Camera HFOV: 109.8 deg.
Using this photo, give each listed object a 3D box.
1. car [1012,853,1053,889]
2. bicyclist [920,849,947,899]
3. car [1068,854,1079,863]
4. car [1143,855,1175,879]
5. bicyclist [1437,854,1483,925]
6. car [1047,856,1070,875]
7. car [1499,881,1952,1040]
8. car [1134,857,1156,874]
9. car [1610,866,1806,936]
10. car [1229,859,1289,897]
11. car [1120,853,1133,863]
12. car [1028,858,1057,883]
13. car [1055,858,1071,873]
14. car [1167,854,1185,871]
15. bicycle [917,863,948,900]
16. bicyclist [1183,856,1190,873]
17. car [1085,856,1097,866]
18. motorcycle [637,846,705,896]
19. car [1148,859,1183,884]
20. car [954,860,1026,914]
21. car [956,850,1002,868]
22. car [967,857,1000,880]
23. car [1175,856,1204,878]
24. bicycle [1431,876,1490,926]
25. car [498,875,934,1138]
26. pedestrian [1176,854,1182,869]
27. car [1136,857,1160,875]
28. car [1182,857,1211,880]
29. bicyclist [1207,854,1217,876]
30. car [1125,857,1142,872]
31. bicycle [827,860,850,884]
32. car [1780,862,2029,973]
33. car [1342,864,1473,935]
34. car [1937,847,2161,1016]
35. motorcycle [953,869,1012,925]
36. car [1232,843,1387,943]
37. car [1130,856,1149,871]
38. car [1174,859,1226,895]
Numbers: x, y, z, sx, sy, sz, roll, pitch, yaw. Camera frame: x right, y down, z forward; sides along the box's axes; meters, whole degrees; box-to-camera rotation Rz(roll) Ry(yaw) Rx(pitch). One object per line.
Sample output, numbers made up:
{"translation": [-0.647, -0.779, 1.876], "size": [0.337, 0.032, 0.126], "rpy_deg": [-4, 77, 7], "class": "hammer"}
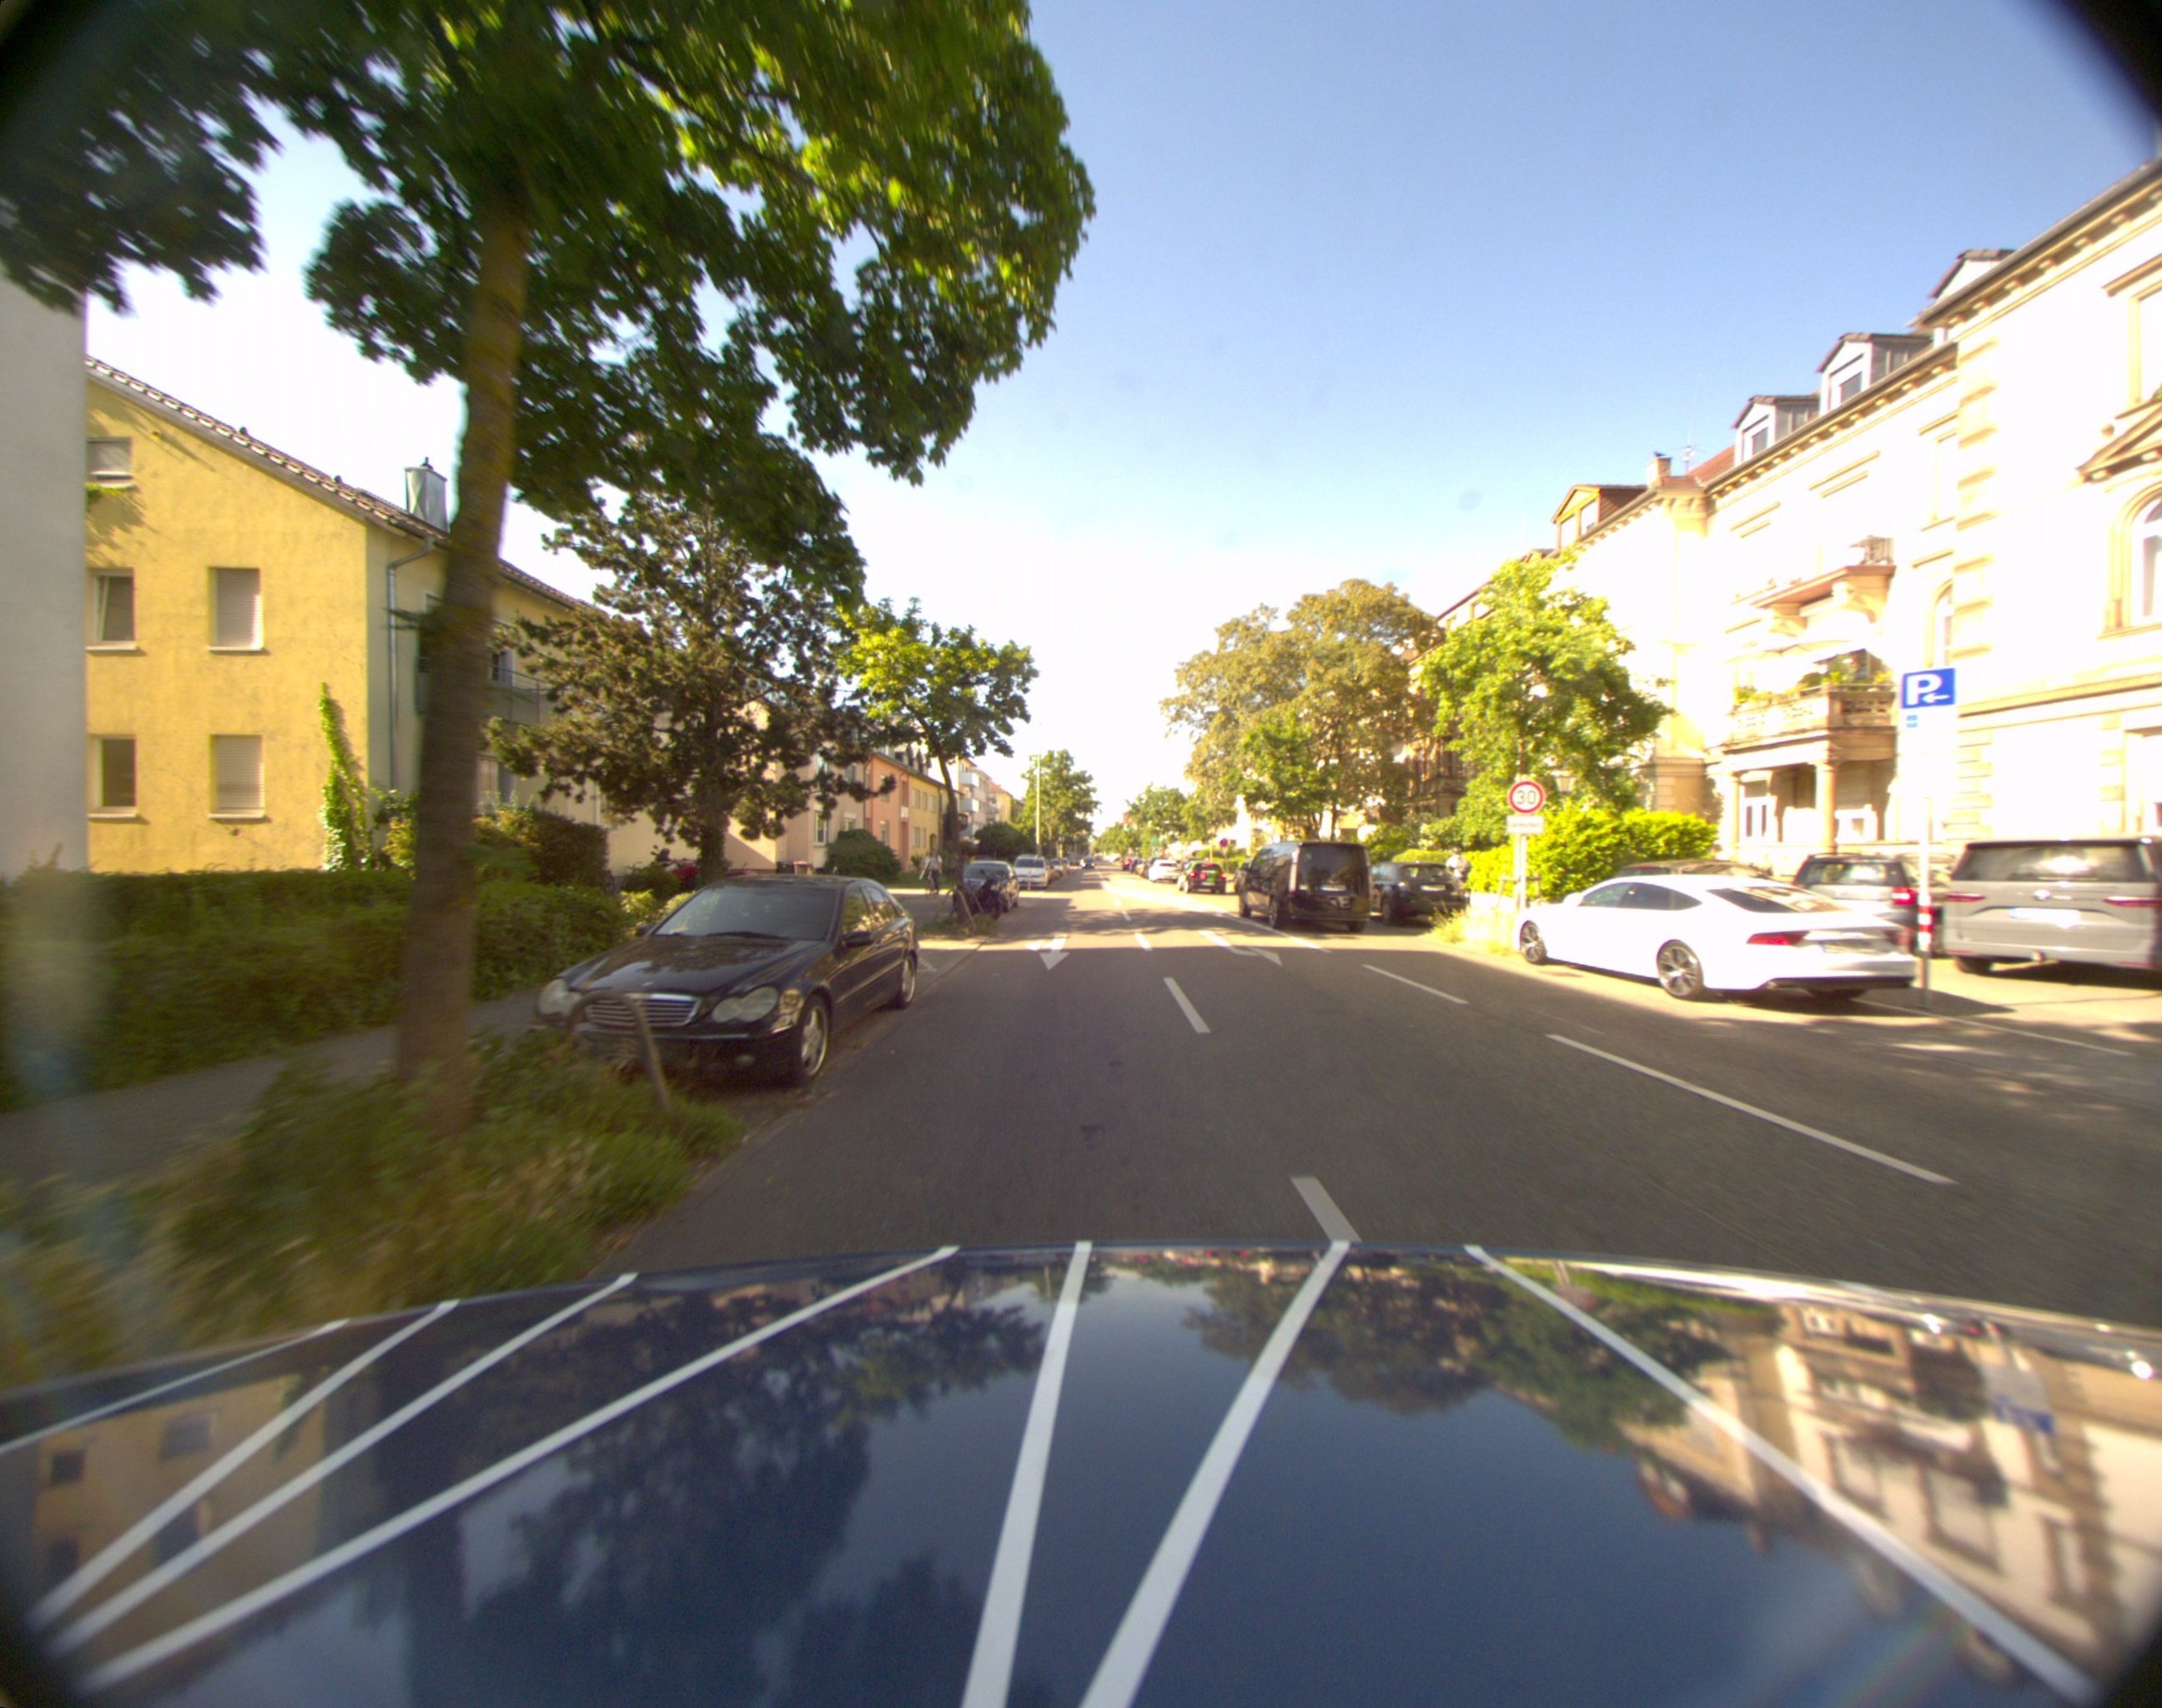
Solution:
{"translation": [-2.386, 0.809, 38.267], "size": [1.773, 1.649, 4.340], "rpy_deg": [2, 0, -1], "class": "car"}
{"translation": [-5.325, 0.711, 27.469], "size": [0.726, 1.783, 1.015], "rpy_deg": [2, 0, 1], "class": "bicyclist"}
{"translation": [-1.347, 0.872, 140.445], "size": [1.822, 1.541, 4.304], "rpy_deg": [1, 0, 1], "class": "car"}
{"translation": [5.697, 0.941, 55.871], "size": [1.841, 1.604, 4.400], "rpy_deg": [3, 0, 0], "class": "car"}
{"translation": [9.992, 0.917, 20.051], "size": [0.660, 1.813, 1.055], "rpy_deg": [1, 1, 1], "class": "bicyclist"}
{"translation": [-1.823, 0.913, 62.077], "size": [1.653, 1.395, 3.970], "rpy_deg": [2, 0, 1], "class": "car"}
{"translation": [7.666, 1.137, 9.877], "size": [1.838, 1.381, 4.802], "rpy_deg": [-1, 0, 0], "class": "car"}
{"translation": [6.065, 1.071, 71.989], "size": [1.639, 1.395, 3.735], "rpy_deg": [2, 0, -1], "class": "car"}
{"translation": [14.666, 1.038, 17.802], "size": [3.923, 1.480, 1.630], "rpy_deg": [0, 0, -16], "class": "car"}
{"translation": [7.948, 1.023, 34.309], "size": [1.629, 1.579, 4.348], "rpy_deg": [-1, 0, 0], "class": "car"}
{"translation": [7.087, 0.561, 117.817], "size": [1.702, 1.398, 4.506], "rpy_deg": [3, 0, 0], "class": "car"}
{"translation": [-2.285, 0.964, 45.635], "size": [1.536, 1.441, 3.717], "rpy_deg": [1, 0, -1], "class": "car"}
{"translation": [-1.841, 1.143, 79.154], "size": [1.571, 1.448, 3.865], "rpy_deg": [2, 0, 0], "class": "car"}
{"translation": [8.791, 0.781, 70.501], "size": [1.404, 1.480, 3.686], "rpy_deg": [0, 0, 2], "class": "car"}
{"translation": [-5.352, 0.979, 27.477], "size": [0.699, 1.239, 1.822], "rpy_deg": [2, 0, 1], "class": "bicycle"}
{"translation": [10.797, 1.084, 77.945], "size": [0.610, 1.744, 0.691], "rpy_deg": [1, 1, 1], "class": "bicyclist"}
{"translation": [1.405, 0.996, 105.494], "size": [1.654, 1.348, 4.304], "rpy_deg": [1, 0, 1], "class": "car"}
{"translation": [-12.008, 0.481, 22.336], "size": [0.638, 1.367, 2.426], "rpy_deg": [1, 0, 1], "class": "motorcycle"}
{"translation": [5.347, 1.082, 48.273], "size": [1.737, 1.404, 4.192], "rpy_deg": [3, 0, 1], "class": "car"}
{"translation": [-2.703, 0.947, 23.250], "size": [1.624, 1.490, 3.649], "rpy_deg": [1, 0, 2], "class": "car"}
{"translation": [-9.548, 0.447, 71.300], "size": [3.997, 1.432, 1.831], "rpy_deg": [4, 0, 1], "class": "car"}
{"translation": [-6.359, 0.920, 49.807], "size": [1.535, 1.348, 3.718], "rpy_deg": [3, 0, 1], "class": "car"}
{"translation": [8.254, 0.939, 57.937], "size": [1.674, 1.596, 4.394], "rpy_deg": [0, 0, 1], "class": "car"}
{"translation": [10.009, 1.217, 20.124], "size": [0.449, 1.186, 2.192], "rpy_deg": [1, 0, 1], "class": "bicycle"}
{"translation": [-2.599, 0.962, 6.732], "size": [1.590, 1.387, 4.454], "rpy_deg": [2, 0, 1], "class": "car"}
{"translation": [10.712, 0.794, 83.069], "size": [0.470, 1.641, 0.719], "rpy_deg": [0, 1, 1], "class": "pedestrian"}
{"translation": [5.540, 0.963, 63.145], "size": [1.585, 1.443, 3.744], "rpy_deg": [1, 0, -2], "class": "car"}
{"translation": [8.099, 0.994, 53.340], "size": [1.605, 1.468, 3.932], "rpy_deg": [0, 0, 2], "class": "car"}
{"translation": [10.790, 0.877, 62.578], "size": [0.584, 1.756, 1.208], "rpy_deg": [-2, 0, 0], "class": "bicyclist"}
{"translation": [6.290, 1.249, 91.641], "size": [1.726, 1.607, 4.300], "rpy_deg": [3, 0, 2], "class": "car"}
{"translation": [-11.230, 0.818, 35.284], "size": [0.456, 0.987, 1.743], "rpy_deg": [3, 1, 1], "class": "bicycle"}
{"translation": [14.102, 0.975, 13.009], "size": [3.925, 1.635, 1.677], "rpy_deg": [0, 0, -23], "class": "car"}
{"translation": [8.063, 1.048, 19.146], "size": [1.682, 1.545, 4.008], "rpy_deg": [0, 0, 2], "class": "car"}
{"translation": [13.656, 0.861, 9.987], "size": [4.334, 1.868, 1.876], "rpy_deg": [0, 0, -22], "class": "car"}
{"translation": [-2.554, 1.065, 19.382], "size": [0.701, 1.264, 2.426], "rpy_deg": [2, 0, -27], "class": "motorcycle"}
{"translation": [5.146, 0.797, 18.002], "size": [2.021, 1.940, 5.178], "rpy_deg": [2, 0, 0], "class": "car"}
{"translation": [6.064, 0.968, 78.808], "size": [1.660, 1.508, 4.076], "rpy_deg": [3, 0, 1], "class": "car"}
{"translation": [5.381, 1.027, 34.817], "size": [1.696, 1.445, 4.173], "rpy_deg": [3, 0, 0], "class": "car"}
